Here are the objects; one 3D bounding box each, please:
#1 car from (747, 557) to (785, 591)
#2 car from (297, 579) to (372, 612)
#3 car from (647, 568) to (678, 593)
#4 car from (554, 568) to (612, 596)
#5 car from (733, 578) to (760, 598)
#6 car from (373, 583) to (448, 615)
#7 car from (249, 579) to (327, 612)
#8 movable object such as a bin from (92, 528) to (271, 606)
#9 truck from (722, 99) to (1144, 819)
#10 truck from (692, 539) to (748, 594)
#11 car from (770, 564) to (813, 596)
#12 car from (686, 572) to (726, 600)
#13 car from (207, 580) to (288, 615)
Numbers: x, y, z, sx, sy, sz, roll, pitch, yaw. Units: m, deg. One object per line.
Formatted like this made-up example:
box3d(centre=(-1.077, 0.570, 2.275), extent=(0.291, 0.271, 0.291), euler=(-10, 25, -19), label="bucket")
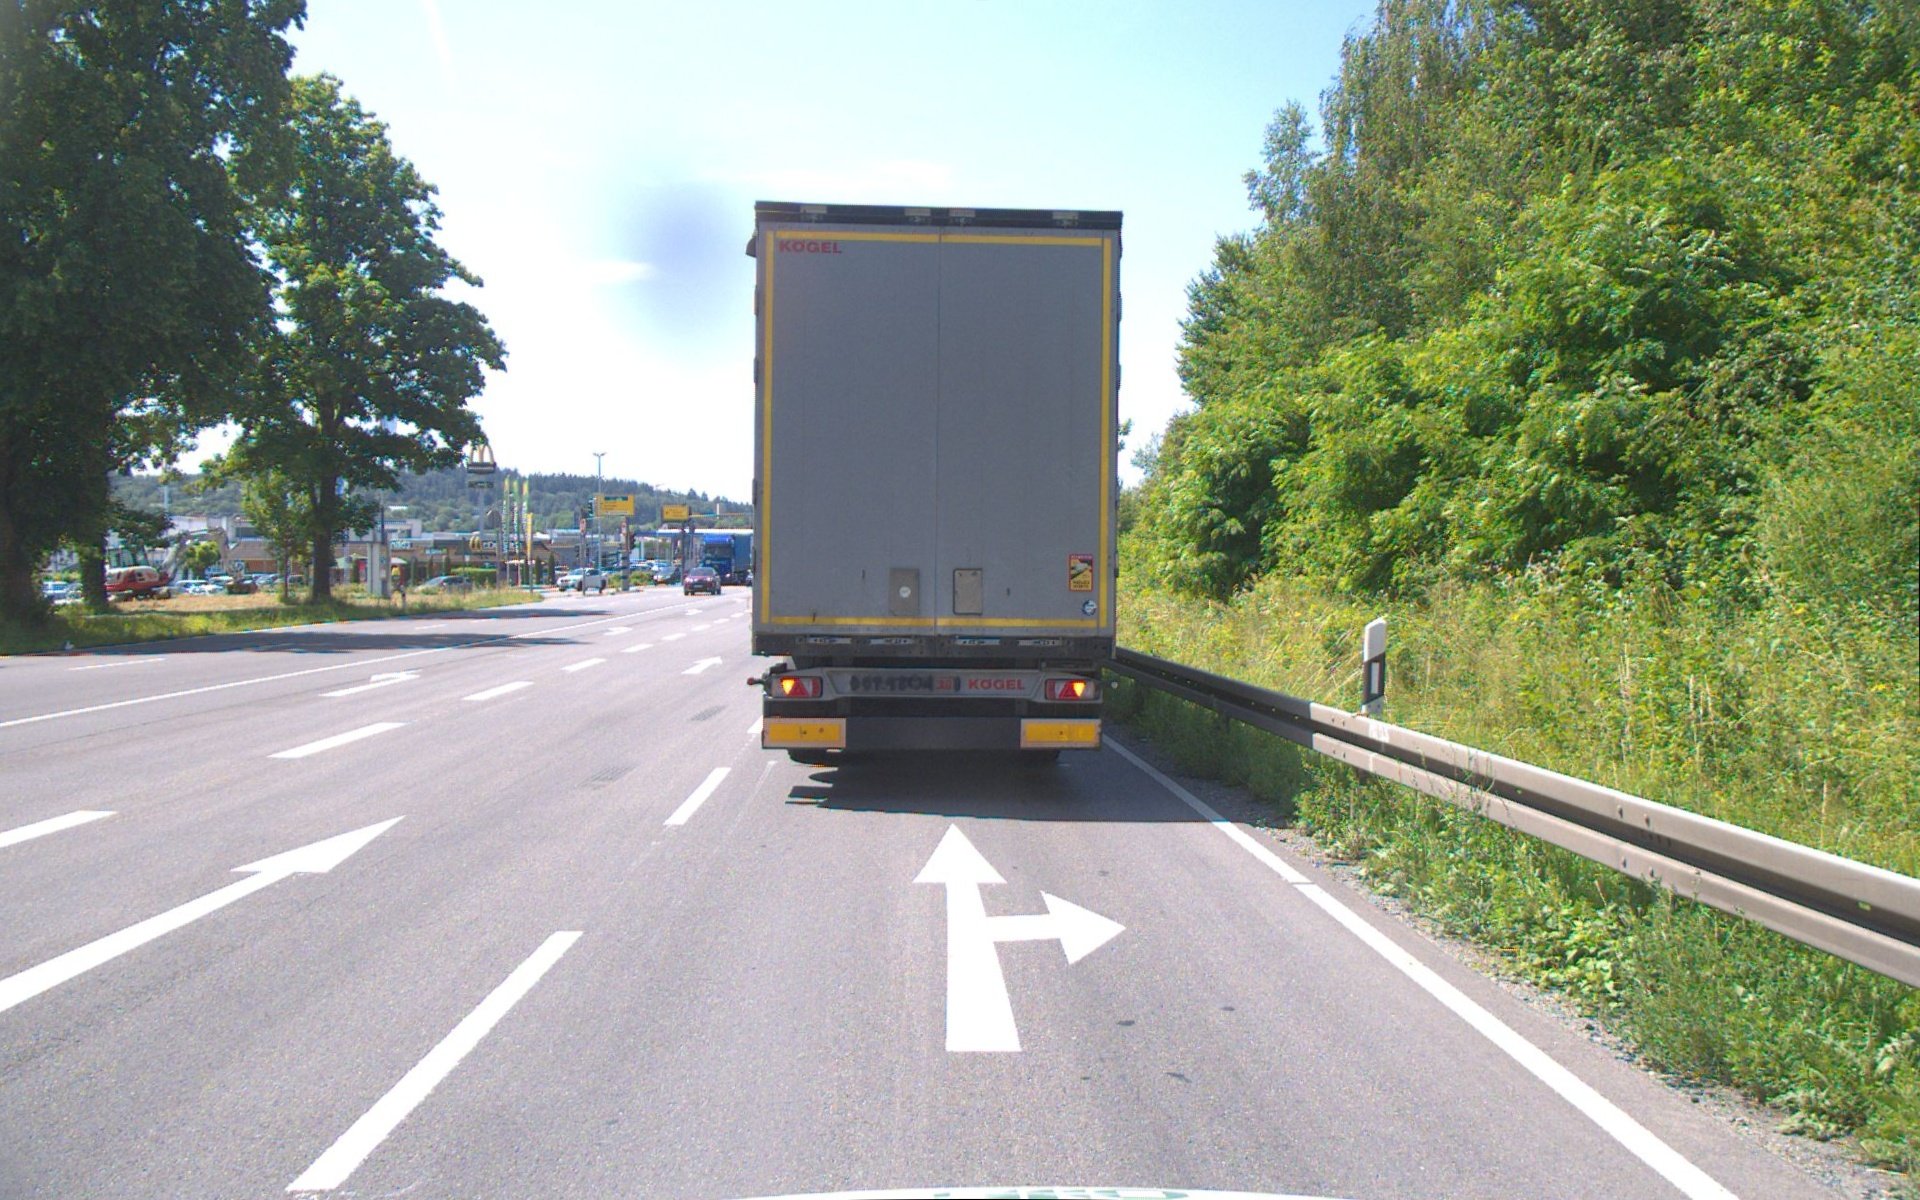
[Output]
box3d(centre=(-12.010, -1.608, 102.585), extent=(1.953, 2.049, 3.998), euler=(1, 1, -2), label="car")
box3d(centre=(-32.829, -0.266, 86.798), extent=(3.919, 1.646, 1.834), euler=(1, 1, 35), label="car")
box3d(centre=(-24.717, -1.598, 137.645), extent=(1.953, 2.049, 3.999), euler=(1, 1, -2), label="car")
box3d(centre=(-28.243, -1.379, 123.939), extent=(1.958, 2.049, 3.988), euler=(1, 1, 33), label="car")
box3d(centre=(-16.107, -0.899, 125.054), extent=(1.732, 1.410, 3.997), euler=(1, 0, -3), label="car")
box3d(centre=(-29.372, -0.070, 88.344), extent=(3.919, 1.646, 1.834), euler=(1, 1, 35), label="car")
box3d(centre=(-34.331, -0.237, 84.478), extent=(3.919, 1.646, 1.834), euler=(1, 1, 35), label="car")
box3d(centre=(-35.191, -1.481, 74.973), extent=(2.994, 3.356, 6.762), euler=(1, 1, 38), label="movable object such as a bin")
box3d(centre=(-0.383, -0.932, 19.325), extent=(2.700, 4.720, 16.650), euler=(1, 0, -1), label="truck")
box3d(centre=(-19.684, -2.731, 136.785), extent=(2.908, 4.249, 16.567), euler=(0, 1, -2), label="truck")
box3d(centre=(-7.436, -0.872, 73.312), extent=(1.497, 1.364, 3.330), euler=(1, 0, 0), label="car")
box3d(centre=(-14.632, -0.817, 95.316), extent=(1.865, 1.535, 3.763), euler=(1, 1, -3), label="car")
box3d(centre=(-35.641, -0.142, 82.675), extent=(3.919, 1.679, 1.993), euler=(1, 1, 35), label="car")
